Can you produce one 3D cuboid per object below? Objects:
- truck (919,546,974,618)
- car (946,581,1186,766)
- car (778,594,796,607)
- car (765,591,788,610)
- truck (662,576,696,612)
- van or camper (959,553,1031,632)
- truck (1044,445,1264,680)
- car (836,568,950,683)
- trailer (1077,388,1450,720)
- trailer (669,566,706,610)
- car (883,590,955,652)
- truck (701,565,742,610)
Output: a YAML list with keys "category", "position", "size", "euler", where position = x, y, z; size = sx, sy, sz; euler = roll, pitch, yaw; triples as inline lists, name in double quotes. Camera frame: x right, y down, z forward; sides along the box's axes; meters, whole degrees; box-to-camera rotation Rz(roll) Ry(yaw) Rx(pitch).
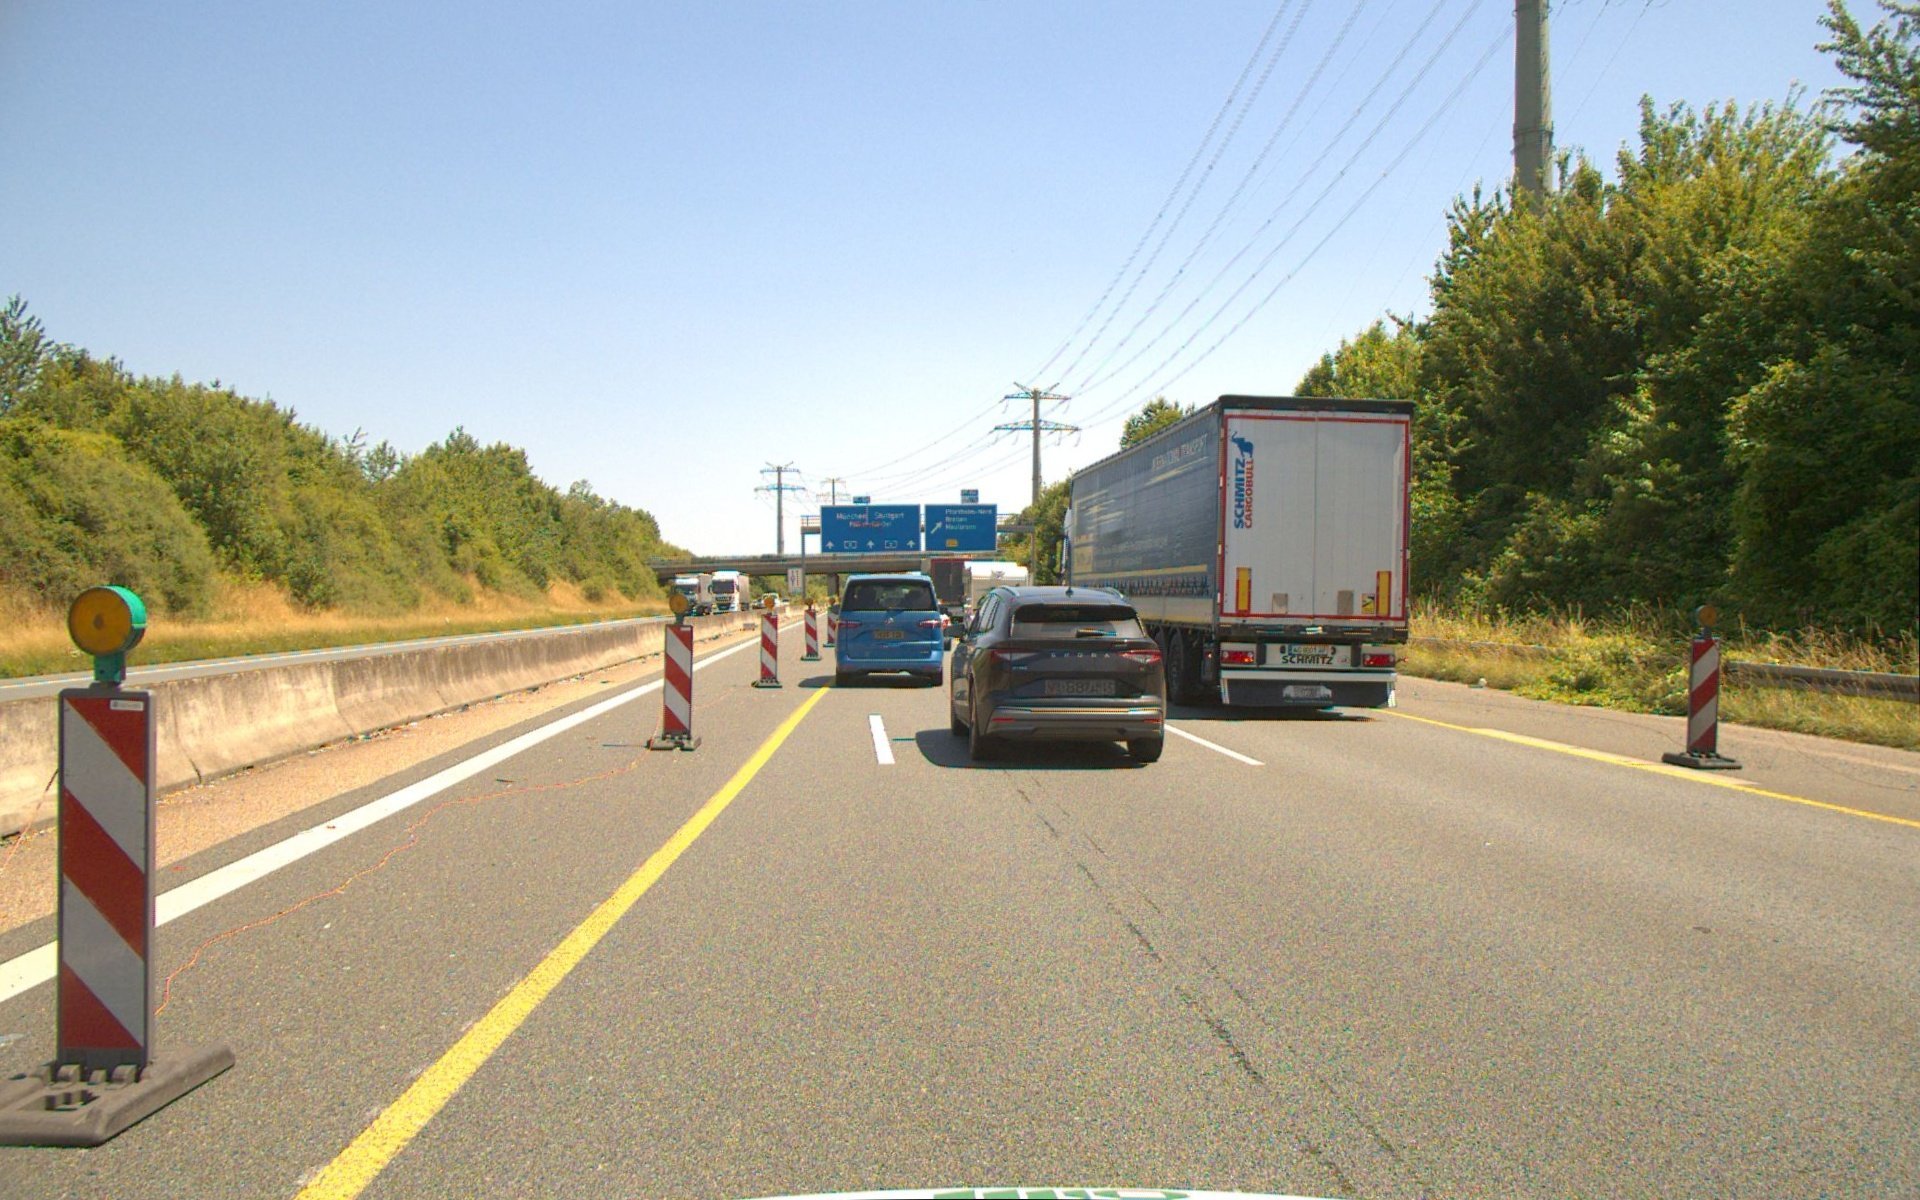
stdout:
- category: "truck"
  position: [-0.966, -1.069, 104.182]
  size: [3.016, 4.219, 13.048]
  euler: [1, 0, -2]
- category: "car"
  position: [0.917, 0.625, 16.739]
  size: [1.858, 1.620, 4.439]
  euler: [0, 0, -4]
- category: "car"
  position: [-20.388, 0.079, 194.677]
  size: [1.727, 1.497, 4.632]
  euler: [-1, 0, -2]
- category: "car"
  position: [-18.265, 0.085, 164.644]
  size: [1.829, 1.824, 5.452]
  euler: [-1, 0, -2]
- category: "truck"
  position: [-26.935, -0.611, 158.961]
  size: [2.415, 3.345, 6.919]
  euler: [-1, 0, -3]
- category: "van or camper"
  position: [1.365, -0.307, 68.030]
  size: [2.534, 3.020, 6.082]
  euler: [1, 0, -2]
- category: "truck"
  position: [3.656, -0.675, 33.316]
  size: [2.965, 4.159, 7.788]
  euler: [0, 0, -4]
- category: "car"
  position: [-1.259, 0.445, 29.608]
  size: [1.858, 1.874, 4.438]
  euler: [1, -1, -4]
- category: "trailer"
  position: [4.209, -0.593, 26.382]
  size: [3.005, 4.113, 11.476]
  euler: [0, 0, -5]
- category: "trailer"
  position: [-27.406, -1.159, 166.744]
  size: [2.431, 4.253, 12.076]
  euler: [-1, 0, -3]
- category: "car"
  position: [-1.235, 0.571, 48.300]
  size: [1.858, 1.535, 4.440]
  euler: [2, 2, -4]
- category: "truck"
  position: [-23.175, -1.218, 160.816]
  size: [3.100, 4.298, 7.412]
  euler: [-1, 0, -2]
